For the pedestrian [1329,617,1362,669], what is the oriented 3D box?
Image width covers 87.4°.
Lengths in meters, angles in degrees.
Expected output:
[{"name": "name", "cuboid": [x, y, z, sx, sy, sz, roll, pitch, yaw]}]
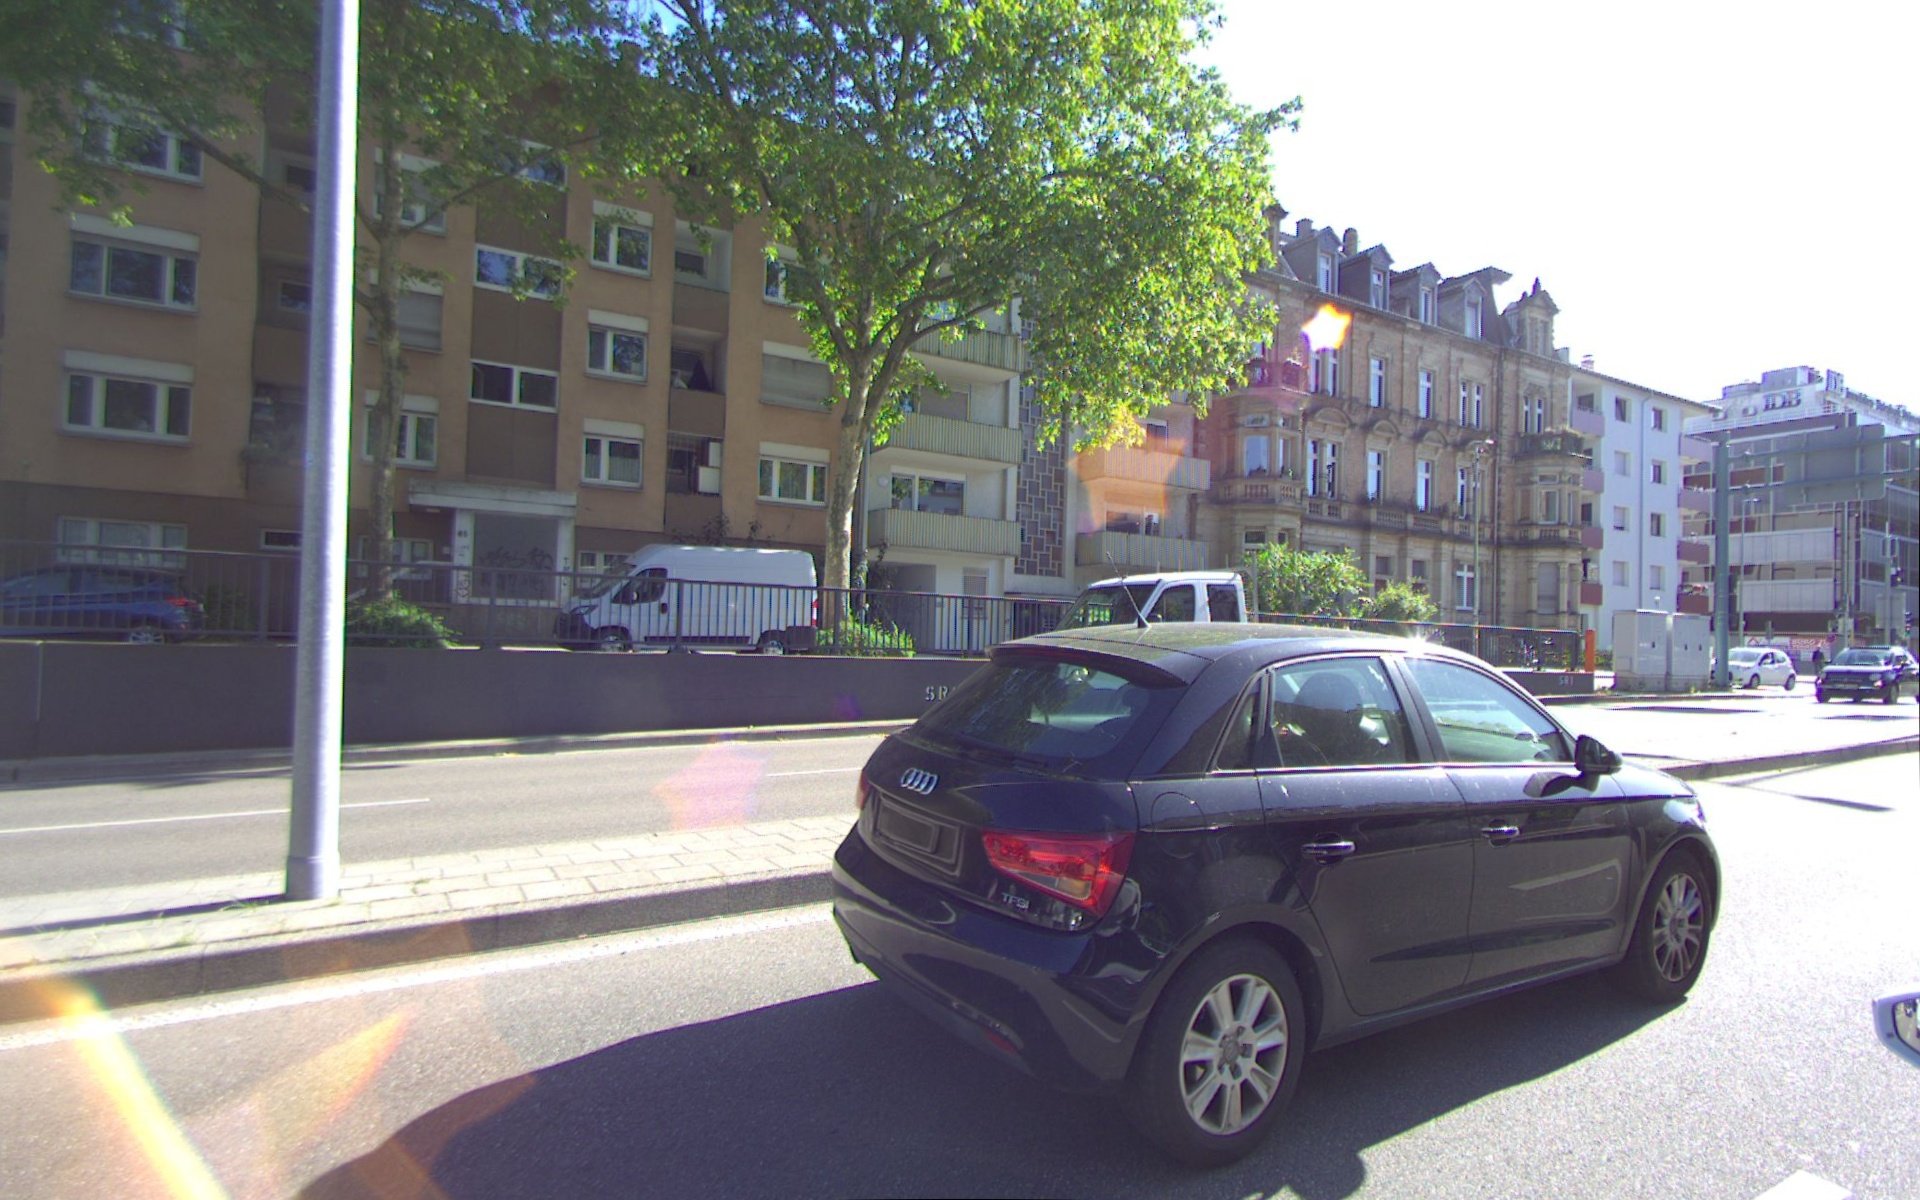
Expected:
[{"name": "pedestrian", "cuboid": [13.224, 1.465, 34.467, 0.824, 1.729, 0.633, 2, 0, -31]}]

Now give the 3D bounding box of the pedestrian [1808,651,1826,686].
[{"name": "pedestrian", "cuboid": [48.869, 3.908, 57.297, 0.718, 1.921, 0.652, 2, 0, -43]}]

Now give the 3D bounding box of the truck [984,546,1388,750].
[{"name": "truck", "cuboid": [3.510, 0.676, 15.156, 6.056, 2.561, 2.219, 1, -2, -30]}]

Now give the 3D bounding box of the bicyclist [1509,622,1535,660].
[{"name": "bicyclist", "cuboid": [25.193, 1.849, 45.025, 0.940, 1.681, 0.584, 2, 0, -31]}]

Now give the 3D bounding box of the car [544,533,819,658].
[{"name": "car", "cuboid": [-5.951, -0.025, 21.712, 5.355, 2.391, 1.984, 2, 0, -30]}]

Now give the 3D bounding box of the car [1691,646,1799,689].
[{"name": "car", "cuboid": [28.267, 2.424, 36.163, 3.568, 1.428, 1.671, 2, -1, -26]}]

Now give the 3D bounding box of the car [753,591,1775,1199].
[{"name": "car", "cuboid": [1.335, 0.762, 3.931, 3.844, 1.437, 1.686, 2, 0, -32]}]

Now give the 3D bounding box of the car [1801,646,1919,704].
[{"name": "car", "cuboid": [24.452, 2.014, 27.160, 3.456, 1.464, 1.584, 2, -4, -31]}]

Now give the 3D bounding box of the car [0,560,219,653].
[{"name": "car", "cuboid": [-14.907, 0.088, 16.535, 4.124, 1.407, 1.983, 2, 0, -31]}]

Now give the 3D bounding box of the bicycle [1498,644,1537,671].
[{"name": "bicycle", "cuboid": [24.906, 2.571, 44.869, 1.951, 1.119, 0.584, 2, 0, -31]}]

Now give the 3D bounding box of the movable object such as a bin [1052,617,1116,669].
[{"name": "movable object such as a bin", "cuboid": [3.563, 1.238, 28.963, 1.286, 1.421, 1.273, 2, 0, -30]}]
